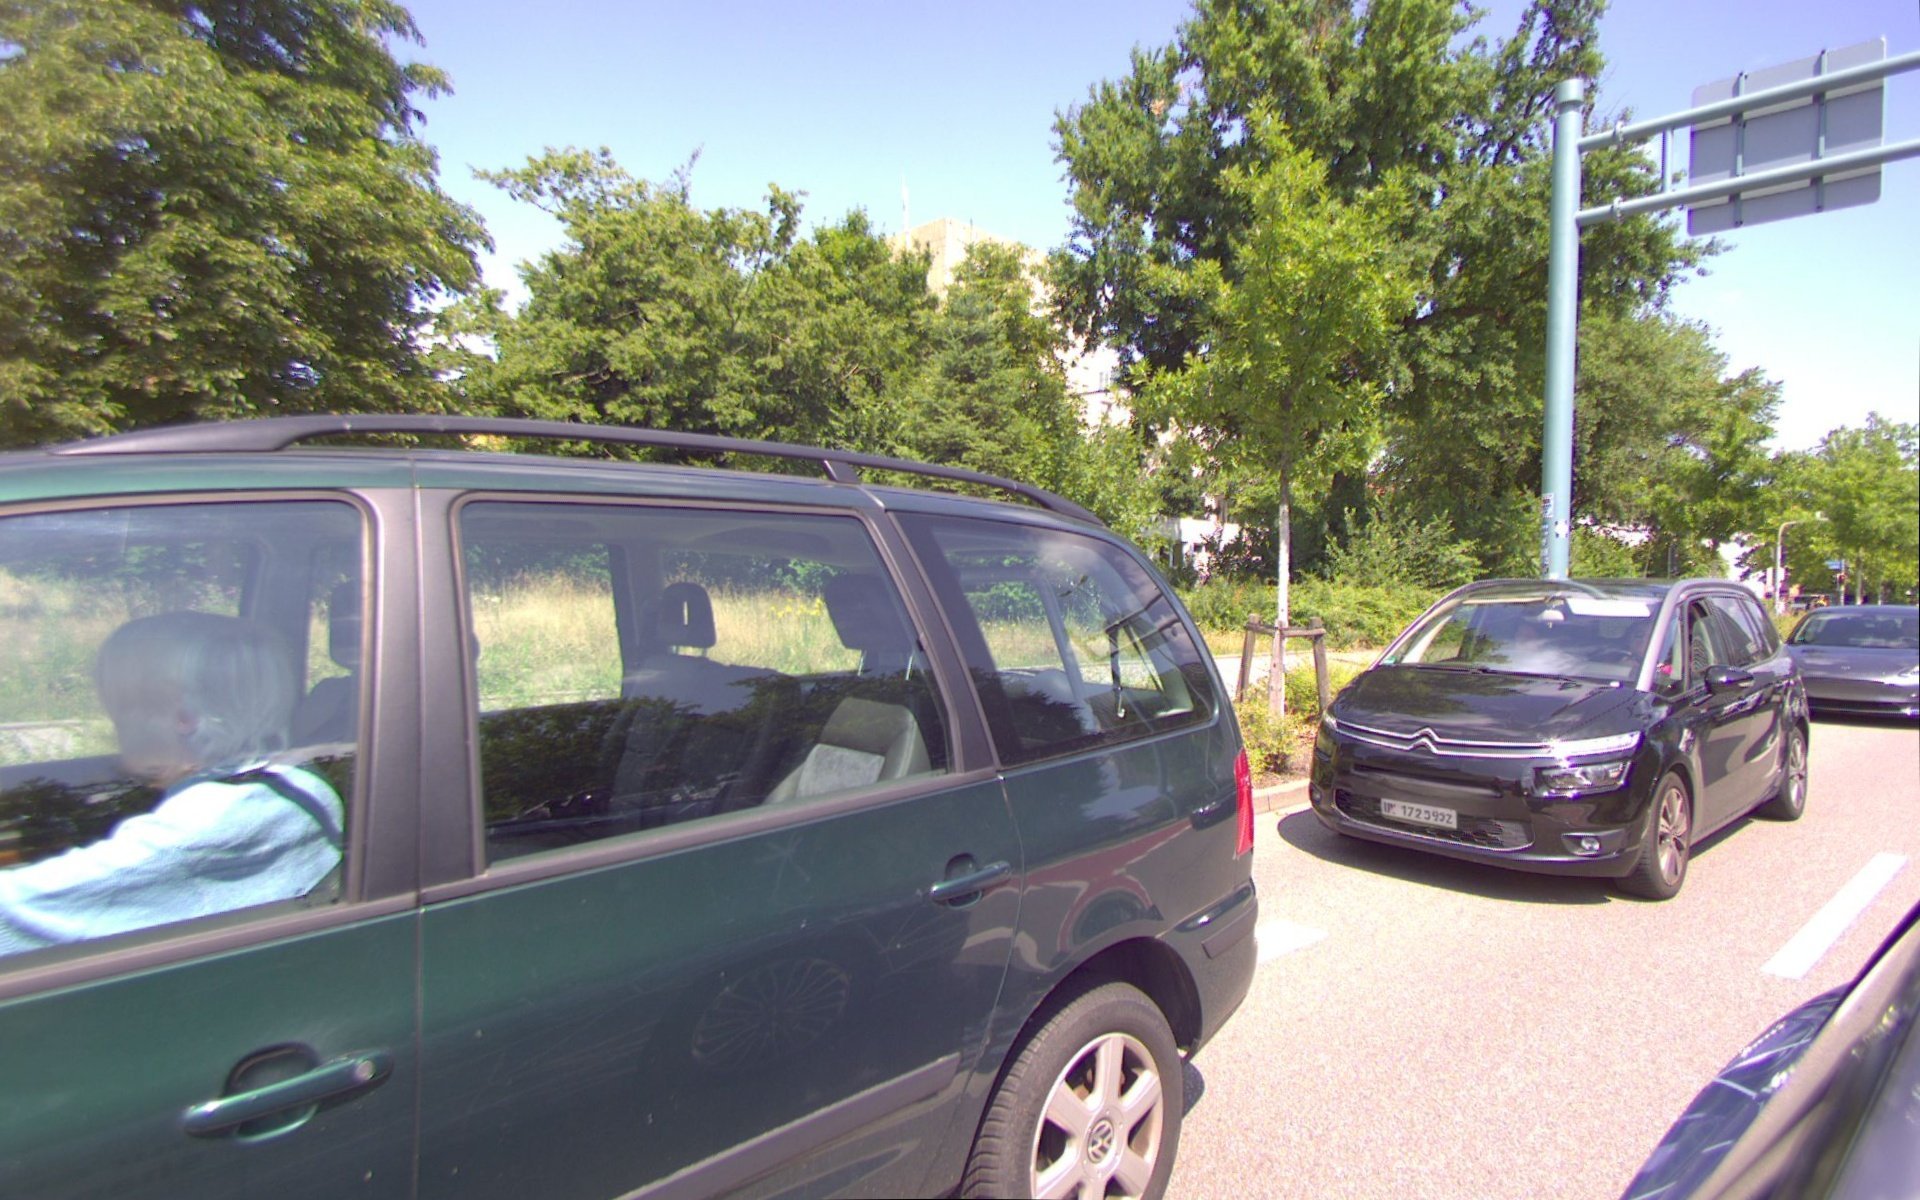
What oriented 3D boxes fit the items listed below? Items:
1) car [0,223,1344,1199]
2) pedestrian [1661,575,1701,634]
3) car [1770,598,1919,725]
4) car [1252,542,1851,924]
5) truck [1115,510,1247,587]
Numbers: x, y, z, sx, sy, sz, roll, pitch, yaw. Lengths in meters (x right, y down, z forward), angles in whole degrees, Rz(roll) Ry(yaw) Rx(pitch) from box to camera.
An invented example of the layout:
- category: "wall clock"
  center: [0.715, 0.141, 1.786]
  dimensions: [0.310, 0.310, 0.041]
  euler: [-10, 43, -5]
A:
- category: "car"
  center: [-1.254, 0.516, 1.870]
  dimensions: [4.369, 1.745, 1.797]
  euler: [1, -1, -40]
- category: "pedestrian"
  center: [22.473, 0.132, 31.538]
  dimensions: [0.827, 1.787, 0.844]
  euler: [0, 0, -41]
- category: "car"
  center: [12.110, 0.712, 13.167]
  dimensions: [4.288, 1.436, 1.763]
  euler: [1, -1, -42]
- category: "car"
  center: [3.986, 0.593, 6.497]
  dimensions: [4.438, 1.643, 1.862]
  euler: [1, -1, -39]
- category: "truck"
  center: [9.655, -2.121, 43.704]
  dimensions: [7.009, 3.061, 2.093]
  euler: [-1, 0, -45]
